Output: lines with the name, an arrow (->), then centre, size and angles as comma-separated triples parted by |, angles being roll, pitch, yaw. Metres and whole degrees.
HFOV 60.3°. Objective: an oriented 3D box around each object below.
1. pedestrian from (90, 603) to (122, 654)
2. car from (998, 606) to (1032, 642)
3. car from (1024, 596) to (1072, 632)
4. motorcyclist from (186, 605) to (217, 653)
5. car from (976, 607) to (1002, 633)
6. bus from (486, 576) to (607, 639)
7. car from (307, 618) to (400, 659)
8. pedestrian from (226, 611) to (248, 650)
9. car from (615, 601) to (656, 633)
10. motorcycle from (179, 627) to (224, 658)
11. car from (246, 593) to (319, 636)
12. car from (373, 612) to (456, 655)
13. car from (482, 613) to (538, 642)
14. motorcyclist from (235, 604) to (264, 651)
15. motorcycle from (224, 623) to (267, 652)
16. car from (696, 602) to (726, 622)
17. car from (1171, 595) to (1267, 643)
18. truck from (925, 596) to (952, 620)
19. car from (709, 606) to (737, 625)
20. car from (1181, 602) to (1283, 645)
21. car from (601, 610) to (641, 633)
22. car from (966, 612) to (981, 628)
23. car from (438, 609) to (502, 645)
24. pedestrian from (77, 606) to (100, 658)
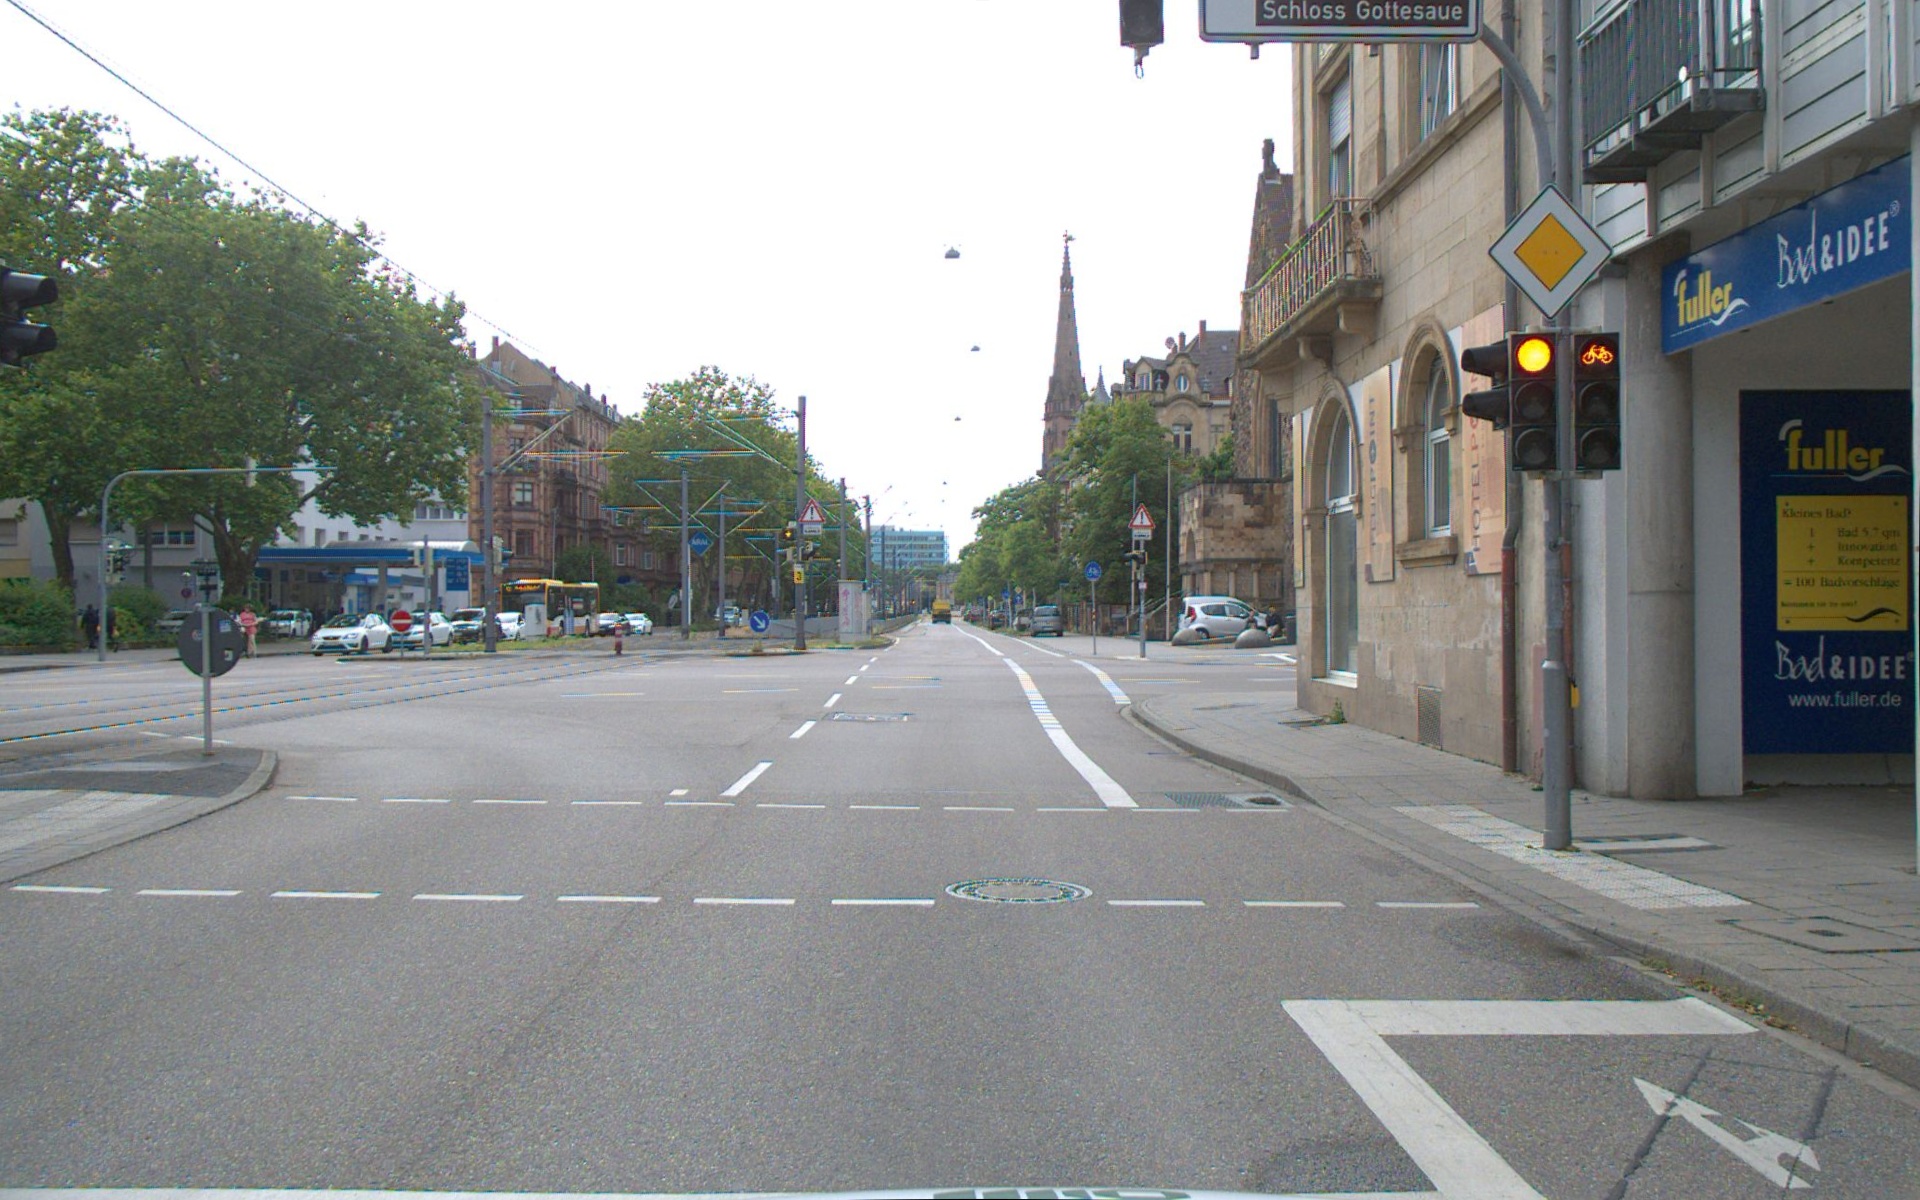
pedestrian -> -29.484, 0.983, 57.101 | 0.867, 1.743, 0.862 | 0, -1, -39
car -> 3.290, 1.419, 99.642 | 1.952, 2.049, 4.000 | 1, 0, 1
car -> 4.817, 0.770, 90.053 | 1.951, 1.888, 4.030 | 1, 0, 12
motorcyclist -> -24.704, 0.940, 53.898 | 0.607, 1.546, 0.873 | 0, 0, -1
car -> 2.379, 1.626, 136.007 | 1.953, 2.049, 3.999 | 1, 0, -1
bus -> -21.965, 0.420, 88.760 | 3.164, 3.088, 12.312 | 1, 0, 1
car -> -21.435, 1.334, 58.600 | 1.711, 1.344, 4.075 | 1, 0, 1
pedestrian -> -28.495, 1.206, 65.174 | 0.634, 1.505, 0.557 | 0, 0, -1
car -> -21.409, 1.135, 109.265 | 1.953, 2.049, 3.999 | 1, 0, -1
motorcycle -> -24.705, 1.373, 53.902 | 0.594, 0.945, 1.951 | 0, 0, 0
car -> -32.865, 0.696, 80.388 | 1.953, 2.049, 3.999 | 0, 0, -1
car -> -21.422, 1.290, 65.134 | 1.953, 1.622, 3.999 | 1, 0, -1
car -> -21.378, 1.287, 78.706 | 1.622, 1.344, 3.638 | 1, 0, 1
motorcyclist -> -23.610, 0.922, 54.973 | 0.607, 1.546, 0.873 | 0, 0, -1
motorcycle -> -23.605, 1.231, 54.660 | 0.594, 0.945, 1.951 | 0, 0, 0
car -> -21.220, 1.026, 141.188 | 1.953, 1.639, 3.999 | 1, 0, -1
car -> 10.692, 0.793, 68.562 | 3.638, 1.888, 2.000 | 1, 0, -1
truck -> -2.618, 0.957, 204.195 | 2.992, 2.817, 9.817 | 0, 0, 1
car -> -21.336, 1.383, 148.997 | 1.953, 1.639, 3.999 | 1, 0, -1
car -> 10.676, 0.924, 65.079 | 3.638, 1.591, 2.000 | 1, 0, -1
car -> -20.849, 1.308, 101.885 | 1.622, 1.344, 3.638 | 1, 0, 1
car -> 1.770, 2.659, 216.829 | 1.953, 2.049, 3.999 | 1, 0, -1
car -> -21.222, 1.142, 71.787 | 1.622, 1.504, 3.638 | 1, 0, 1
pedestrian -> -29.839, 1.080, 56.655 | 0.681, 1.743, 0.861 | 0, 0, -29
